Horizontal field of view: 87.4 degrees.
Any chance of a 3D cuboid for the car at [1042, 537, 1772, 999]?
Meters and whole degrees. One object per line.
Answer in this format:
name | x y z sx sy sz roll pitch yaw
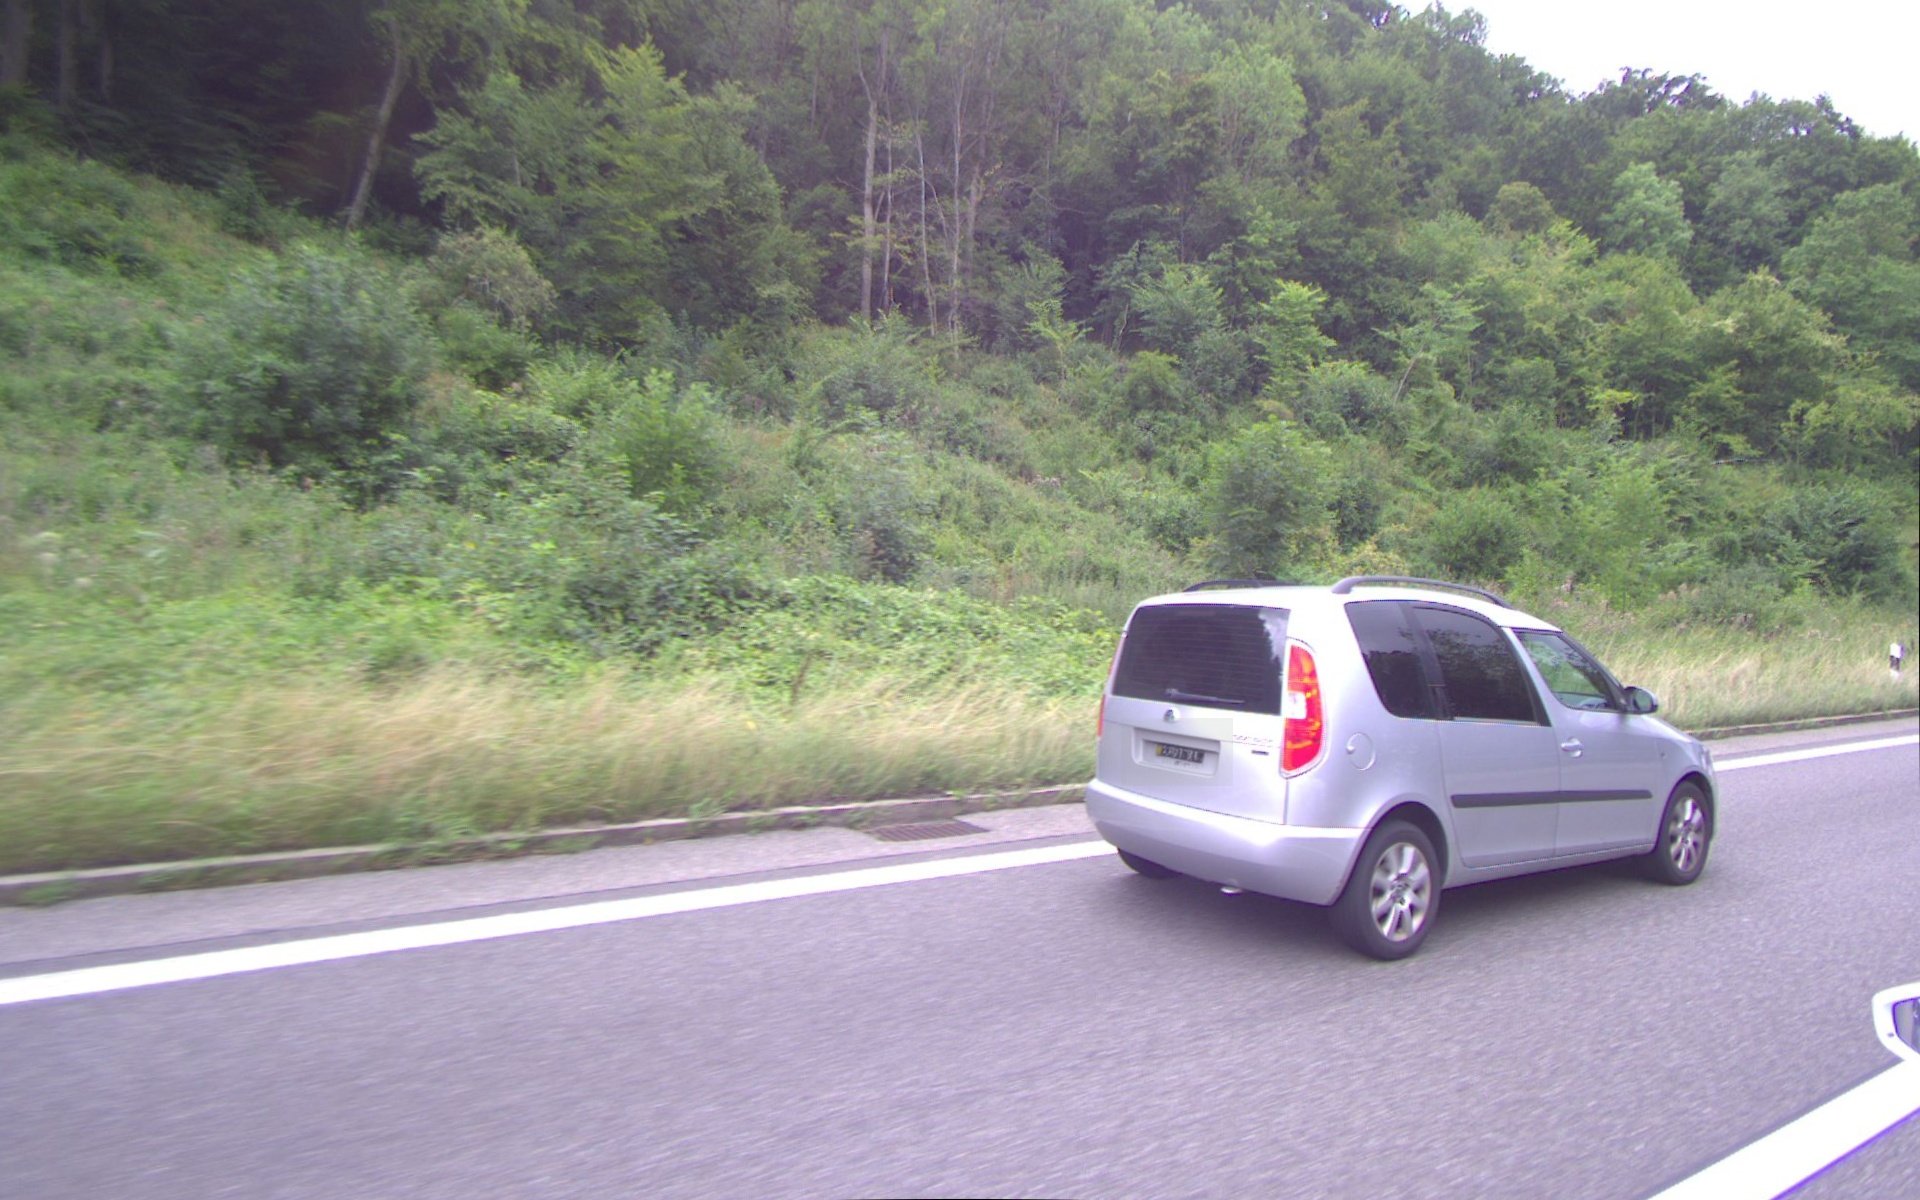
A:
car | 2.674 0.676 5.647 4.296 1.749 1.625 1 -1 -32
